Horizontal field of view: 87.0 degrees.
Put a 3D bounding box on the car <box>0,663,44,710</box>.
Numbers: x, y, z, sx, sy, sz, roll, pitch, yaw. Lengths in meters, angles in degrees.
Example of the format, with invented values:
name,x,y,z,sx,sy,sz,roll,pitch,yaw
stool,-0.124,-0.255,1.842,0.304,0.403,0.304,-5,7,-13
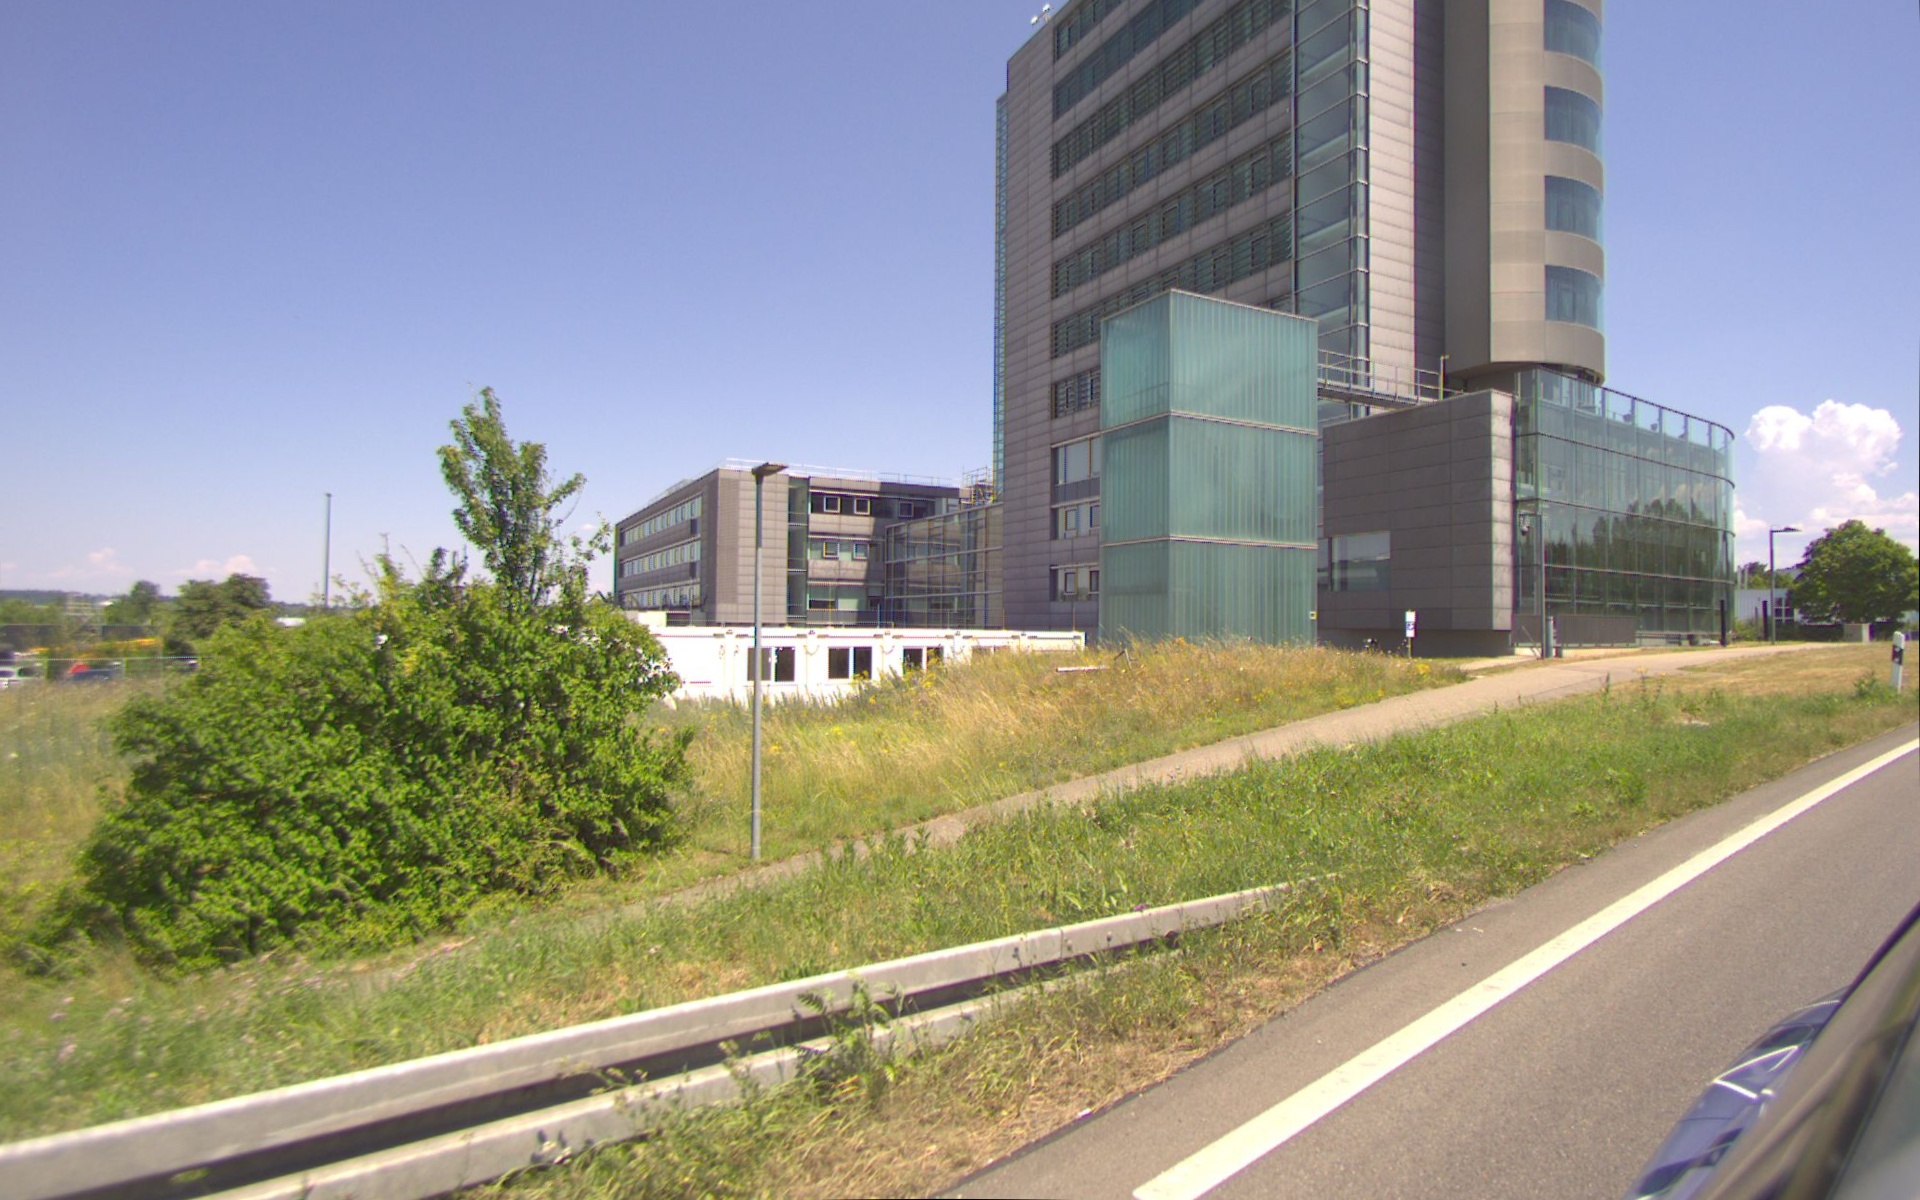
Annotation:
name,x,y,z,sx,sy,sz,roll,pitch,yaw
car,-44.965,4.032,47.430,1.959,2.040,4.005,1,-2,-26

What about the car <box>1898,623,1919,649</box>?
name,x,y,z,sx,sy,sz,roll,pitch,yaw
car,62.561,2.286,64.148,4.329,1.620,1.911,-2,-3,38
